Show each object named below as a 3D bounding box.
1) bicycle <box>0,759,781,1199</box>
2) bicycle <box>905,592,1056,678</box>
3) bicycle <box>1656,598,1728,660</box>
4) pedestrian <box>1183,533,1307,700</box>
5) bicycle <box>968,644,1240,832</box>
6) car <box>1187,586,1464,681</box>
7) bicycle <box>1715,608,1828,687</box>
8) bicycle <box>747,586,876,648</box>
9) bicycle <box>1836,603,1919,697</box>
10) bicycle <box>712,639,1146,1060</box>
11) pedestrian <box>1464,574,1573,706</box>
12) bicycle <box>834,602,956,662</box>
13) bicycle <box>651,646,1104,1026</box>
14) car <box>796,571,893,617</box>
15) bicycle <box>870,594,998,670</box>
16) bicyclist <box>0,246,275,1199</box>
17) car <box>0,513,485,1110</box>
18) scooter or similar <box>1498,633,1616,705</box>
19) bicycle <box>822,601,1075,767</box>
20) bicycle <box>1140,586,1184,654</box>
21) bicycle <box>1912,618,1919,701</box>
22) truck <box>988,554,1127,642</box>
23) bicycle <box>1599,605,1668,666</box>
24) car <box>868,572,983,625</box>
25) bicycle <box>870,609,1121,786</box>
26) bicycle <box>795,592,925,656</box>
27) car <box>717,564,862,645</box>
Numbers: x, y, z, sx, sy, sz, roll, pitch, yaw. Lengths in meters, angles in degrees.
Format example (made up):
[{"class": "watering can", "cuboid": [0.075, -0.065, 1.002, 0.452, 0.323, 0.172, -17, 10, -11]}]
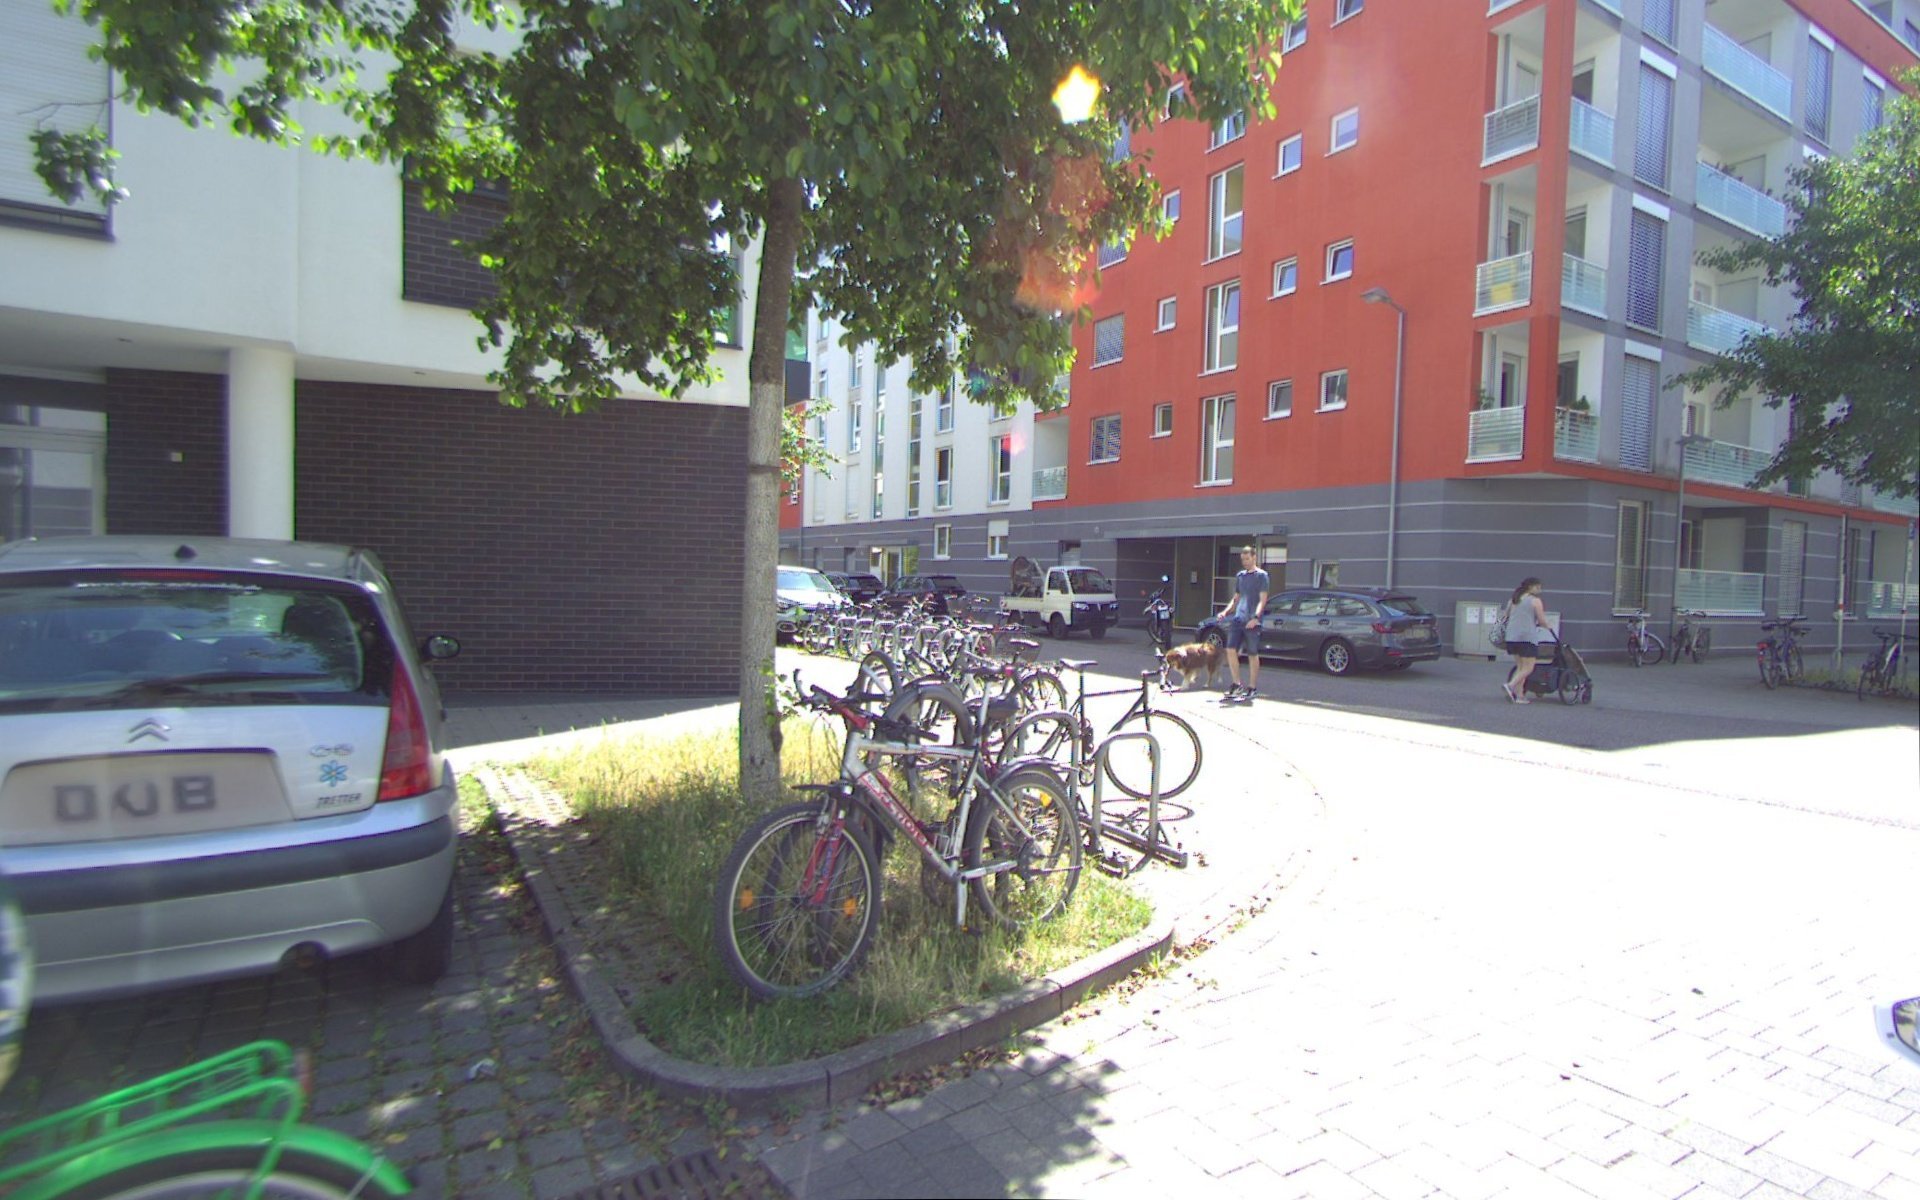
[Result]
[{"class": "bicycle", "cuboid": [-1.317, 0.893, 1.106, 2.017, 1.144, 0.893, 1, 1, -32]}, {"class": "bicycle", "cuboid": [0.309, 0.463, 13.956, 2.082, 1.106, 0.704, 1, 1, -36]}, {"class": "bicycle", "cuboid": [15.445, 0.597, 21.186, 1.903, 1.256, 0.548, 1, 1, -32]}, {"class": "pedestrian", "cuboid": [3.667, 0.195, 12.963, 1.115, 2.041, 1.005, 1, 1, -28]}, {"class": "bicycle", "cuboid": [0.917, 0.805, 6.271, 1.656, 1.004, 0.531, 1, 3, -29]}, {"class": "car", "cuboid": [6.466, 0.496, 18.309, 1.916, 1.402, 4.545, -1, 2, -33]}, {"class": "bicycle", "cuboid": [13.481, 0.757, 16.674, 2.197, 1.186, 0.685, 0, 4, -31]}, {"class": "bicycle", "cuboid": [-2.772, 0.315, 18.824, 2.244, 1.106, 0.806, 1, 1, -26]}, {"class": "bicycle", "cuboid": [14.319, 0.742, 15.549, 1.791, 1.349, 0.590, -1, 2, -31]}, {"class": "bicycle", "cuboid": [-0.012, 0.769, 3.730, 1.808, 1.196, 0.367, 0, 1, -43]}, {"class": "pedestrian", "cuboid": [7.603, 0.512, 13.696, 0.822, 1.713, 0.995, 0, 1, -30]}, {"class": "bicycle", "cuboid": [-1.038, 0.513, 16.363, 1.986, 0.920, 0.532, 1, 1, -33]}, {"class": "bicycle", "cuboid": [-0.216, 0.789, 4.027, 1.964, 1.143, 0.429, 0, 1, -43]}, {"class": "car", "cuboid": [-4.206, -0.237, 35.980, 1.977, 1.528, 3.965, 1, 1, -31]}, {"class": "bicycle", "cuboid": [-0.375, 0.468, 15.171, 1.973, 1.083, 0.487, 1, 1, -34]}, {"class": "bicyclist", "cuboid": [-1.287, 0.427, 1.128, 0.791, 1.479, 0.949, 0, 1, -31]}, {"class": "car", "cuboid": [-3.176, 0.454, 4.237, 1.810, 1.541, 3.611, 1, 3, -30]}, {"class": "scooter or similar", "cuboid": [8.390, 0.941, 14.143, 1.006, 0.900, 1.063, 1, 1, -30]}, {"class": "bicycle", "cuboid": [-0.078, 0.622, 8.069, 1.899, 1.189, 0.744, 1, 1, -29]}, {"class": "bicycle", "cuboid": [4.442, 0.406, 22.211, 0.669, 1.397, 2.351, 1, 1, 5]}, {"class": "bicycle", "cuboid": [14.872, 0.874, 14.998, 1.733, 1.220, 0.515, -1, 4, -33]}, {"class": "truck", "cuboid": [2.396, -0.126, 25.373, 1.543, 2.041, 3.709, -2, 3, -33]}, {"class": "bicycle", "cuboid": [13.270, 0.677, 19.761, 2.090, 1.122, 0.601, 0, 2, -42]}, {"class": "car", "cuboid": [-1.152, -0.092, 31.586, 1.977, 1.469, 3.967, 0, 3, -30]}, {"class": "bicycle", "cuboid": [0.295, 0.657, 7.471, 1.822, 1.151, 0.703, 0, 1, -37]}, {"class": "bicycle", "cuboid": [-1.715, 0.398, 17.418, 2.211, 1.049, 0.703, 0, 1, -38]}, {"class": "car", "cuboid": [-3.664, 0.046, 21.066, 1.948, 1.536, 3.769, 1, 1, -27]}]
